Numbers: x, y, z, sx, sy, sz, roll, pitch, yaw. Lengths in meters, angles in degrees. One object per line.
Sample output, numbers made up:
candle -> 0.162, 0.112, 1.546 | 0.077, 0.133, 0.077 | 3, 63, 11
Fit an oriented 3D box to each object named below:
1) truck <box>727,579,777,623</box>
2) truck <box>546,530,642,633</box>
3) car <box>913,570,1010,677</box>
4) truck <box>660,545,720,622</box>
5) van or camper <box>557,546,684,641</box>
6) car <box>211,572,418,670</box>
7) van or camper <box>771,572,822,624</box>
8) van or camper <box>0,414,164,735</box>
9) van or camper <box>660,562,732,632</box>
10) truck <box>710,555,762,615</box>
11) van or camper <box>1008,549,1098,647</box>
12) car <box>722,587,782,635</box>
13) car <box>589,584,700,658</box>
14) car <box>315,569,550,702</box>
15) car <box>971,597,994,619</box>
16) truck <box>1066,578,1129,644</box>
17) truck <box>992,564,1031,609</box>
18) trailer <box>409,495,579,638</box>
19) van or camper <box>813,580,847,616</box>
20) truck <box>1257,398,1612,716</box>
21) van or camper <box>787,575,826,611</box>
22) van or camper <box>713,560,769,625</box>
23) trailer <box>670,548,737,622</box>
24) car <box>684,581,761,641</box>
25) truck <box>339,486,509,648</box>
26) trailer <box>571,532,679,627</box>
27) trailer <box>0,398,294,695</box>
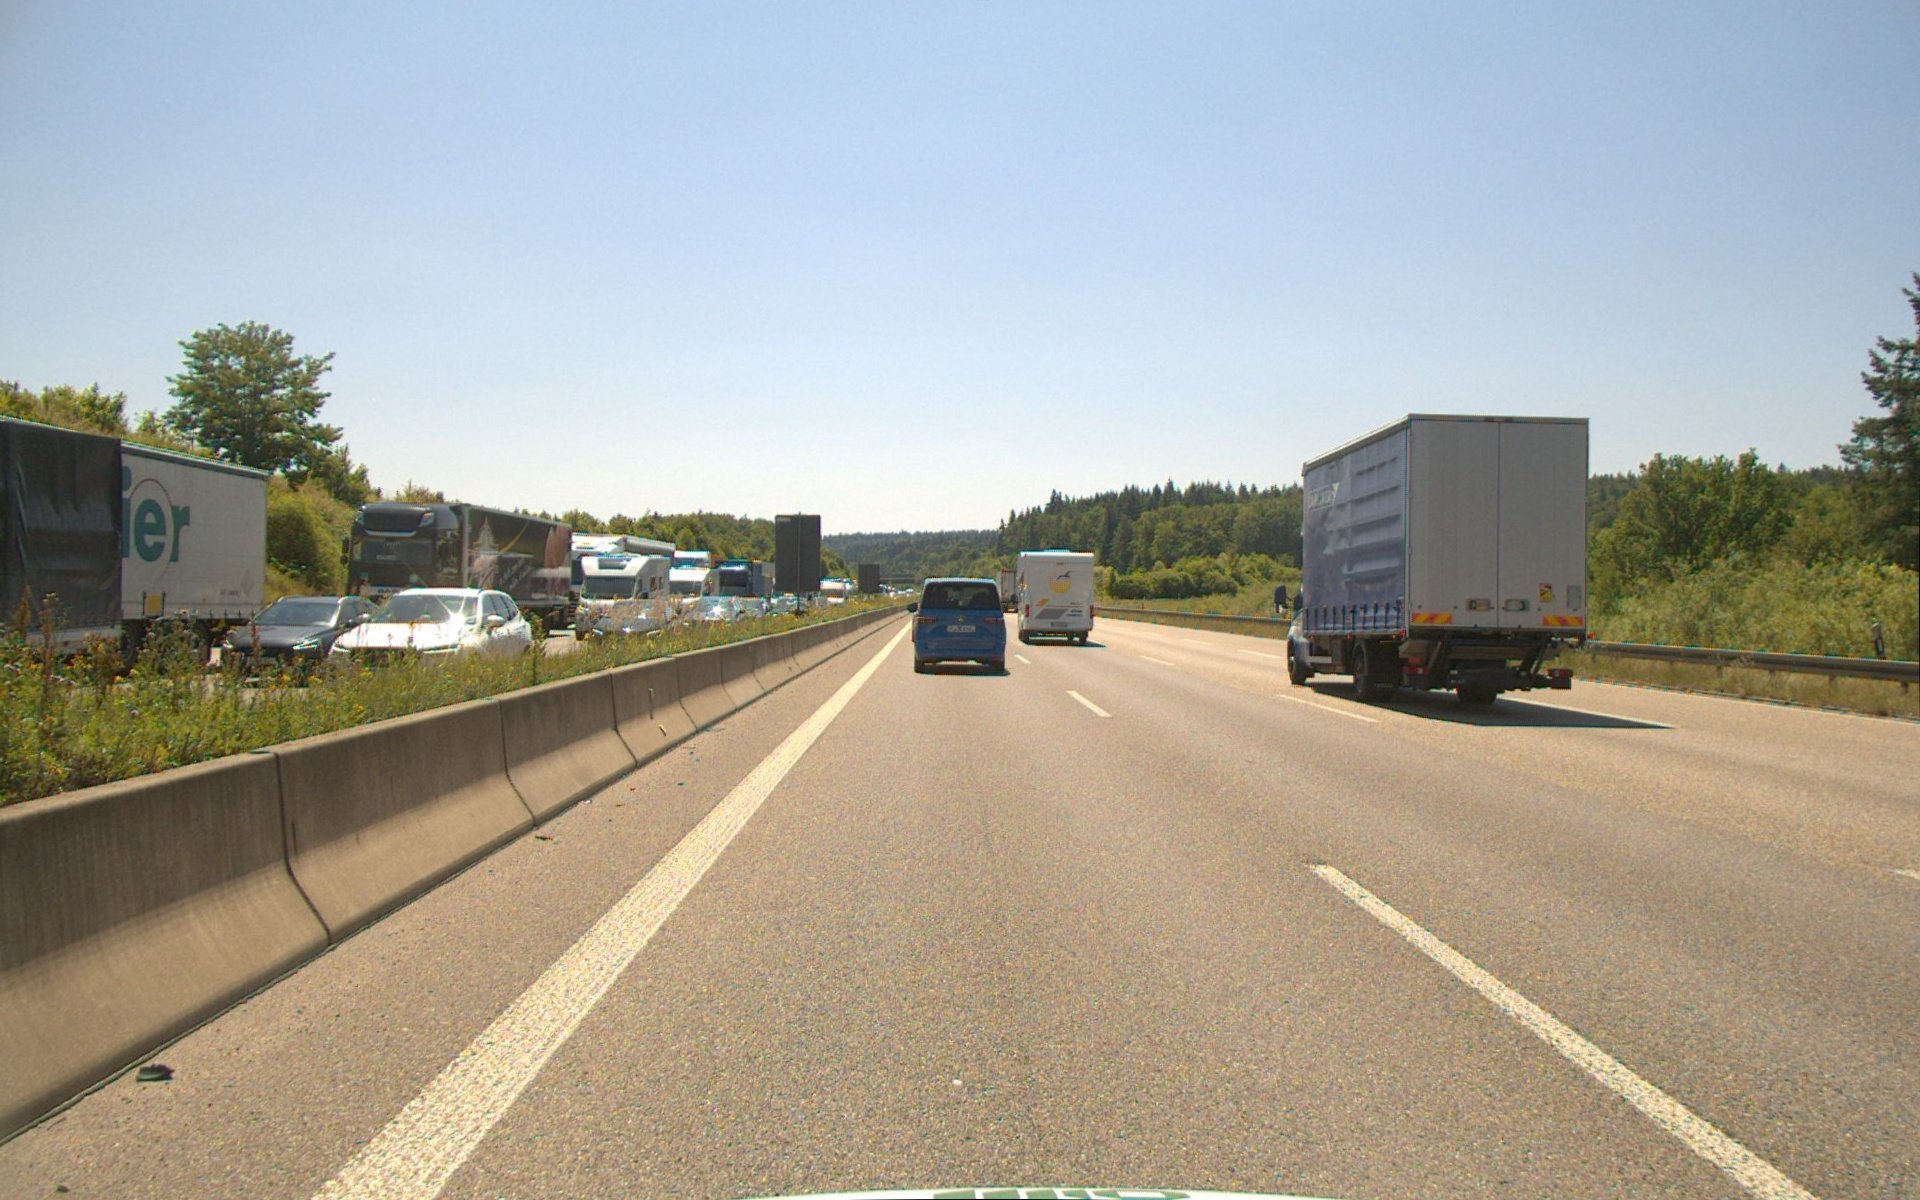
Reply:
truck -> -12.220, 0.074, 97.631 | 2.189, 2.549, 6.860 | 0, 0, -1
truck -> -15.737, -0.759, 71.493 | 2.744, 4.200, 6.140 | 1, 0, -1
car -> -0.010, 0.438, 34.442 | 1.870, 2.049, 3.999 | 1, 1, -1
truck -> -16.183, -0.935, 99.598 | 2.537, 4.401, 7.290 | 1, 0, -2
van or camper -> -11.704, -0.189, 57.794 | 2.784, 3.000, 8.111 | 1, 0, -1
car -> -11.284, 0.356, 29.303 | 1.775, 1.564, 4.828 | 1, 0, -1
van or camper -> -8.455, -0.073, 85.891 | 2.148, 2.585, 6.414 | 0, 0, -1
van or camper -> -11.469, -0.294, 17.138 | 2.477, 3.418, 7.943 | 1, 0, 0
van or camper -> -11.896, -0.116, 74.950 | 2.107, 2.974, 7.223 | 1, 0, -1
truck -> -16.346, -1.030, 121.313 | 2.521, 4.149, 9.692 | 1, 0, -1
van or camper -> 3.131, -0.118, 57.239 | 2.550, 3.132, 7.181 | 1, 1, -1
car -> -8.190, 0.431, 65.421 | 1.775, 1.760, 4.972 | 1, 0, -1
car -> -7.618, 0.495, 40.371 | 1.775, 1.662, 5.029 | 1, 0, -1
car -> -7.392, 0.468, 23.737 | 1.775, 1.662, 5.029 | 1, 0, -1
car -> 1.839, 0.658, 137.707 | 1.781, 1.825, 3.893 | 1, 0, -1
truck -> 7.914, 0.548, 96.232 | 2.868, 3.637, 8.526 | -1, 1, 0
truck -> 5.047, -1.296, 164.511 | 3.416, 4.243, 8.640 | 1, 0, -1
trailer -> -15.511, -0.986, 56.015 | 2.732, 4.315, 10.790 | 1, 0, -1
van or camper -> -9.477, -0.122, 120.672 | 2.148, 2.550, 6.056 | 0, 0, -1
truck -> 7.218, -0.547, 26.971 | 2.727, 4.200, 9.737 | 1, 0, -1
van or camper -> -13.095, -0.549, 141.914 | 2.492, 2.988, 7.828 | 0, 0, 1
van or camper -> -12.082, -0.391, 91.855 | 2.266, 3.449, 7.678 | 0, 0, -1
trailer -> -16.328, -0.883, 106.103 | 2.559, 4.386, 11.997 | 1, 0, -1
car -> -7.802, 0.366, 54.860 | 1.775, 1.841, 5.542 | 1, 0, -1
truck -> -15.455, -0.880, 48.235 | 2.725, 4.380, 7.028 | 0, 0, -1
trailer -> -15.804, -0.869, 79.024 | 2.724, 4.104, 12.248 | 1, 0, -1
trailer -> -15.480, -0.766, 29.066 | 2.724, 4.380, 11.710 | 0, 0, 0
